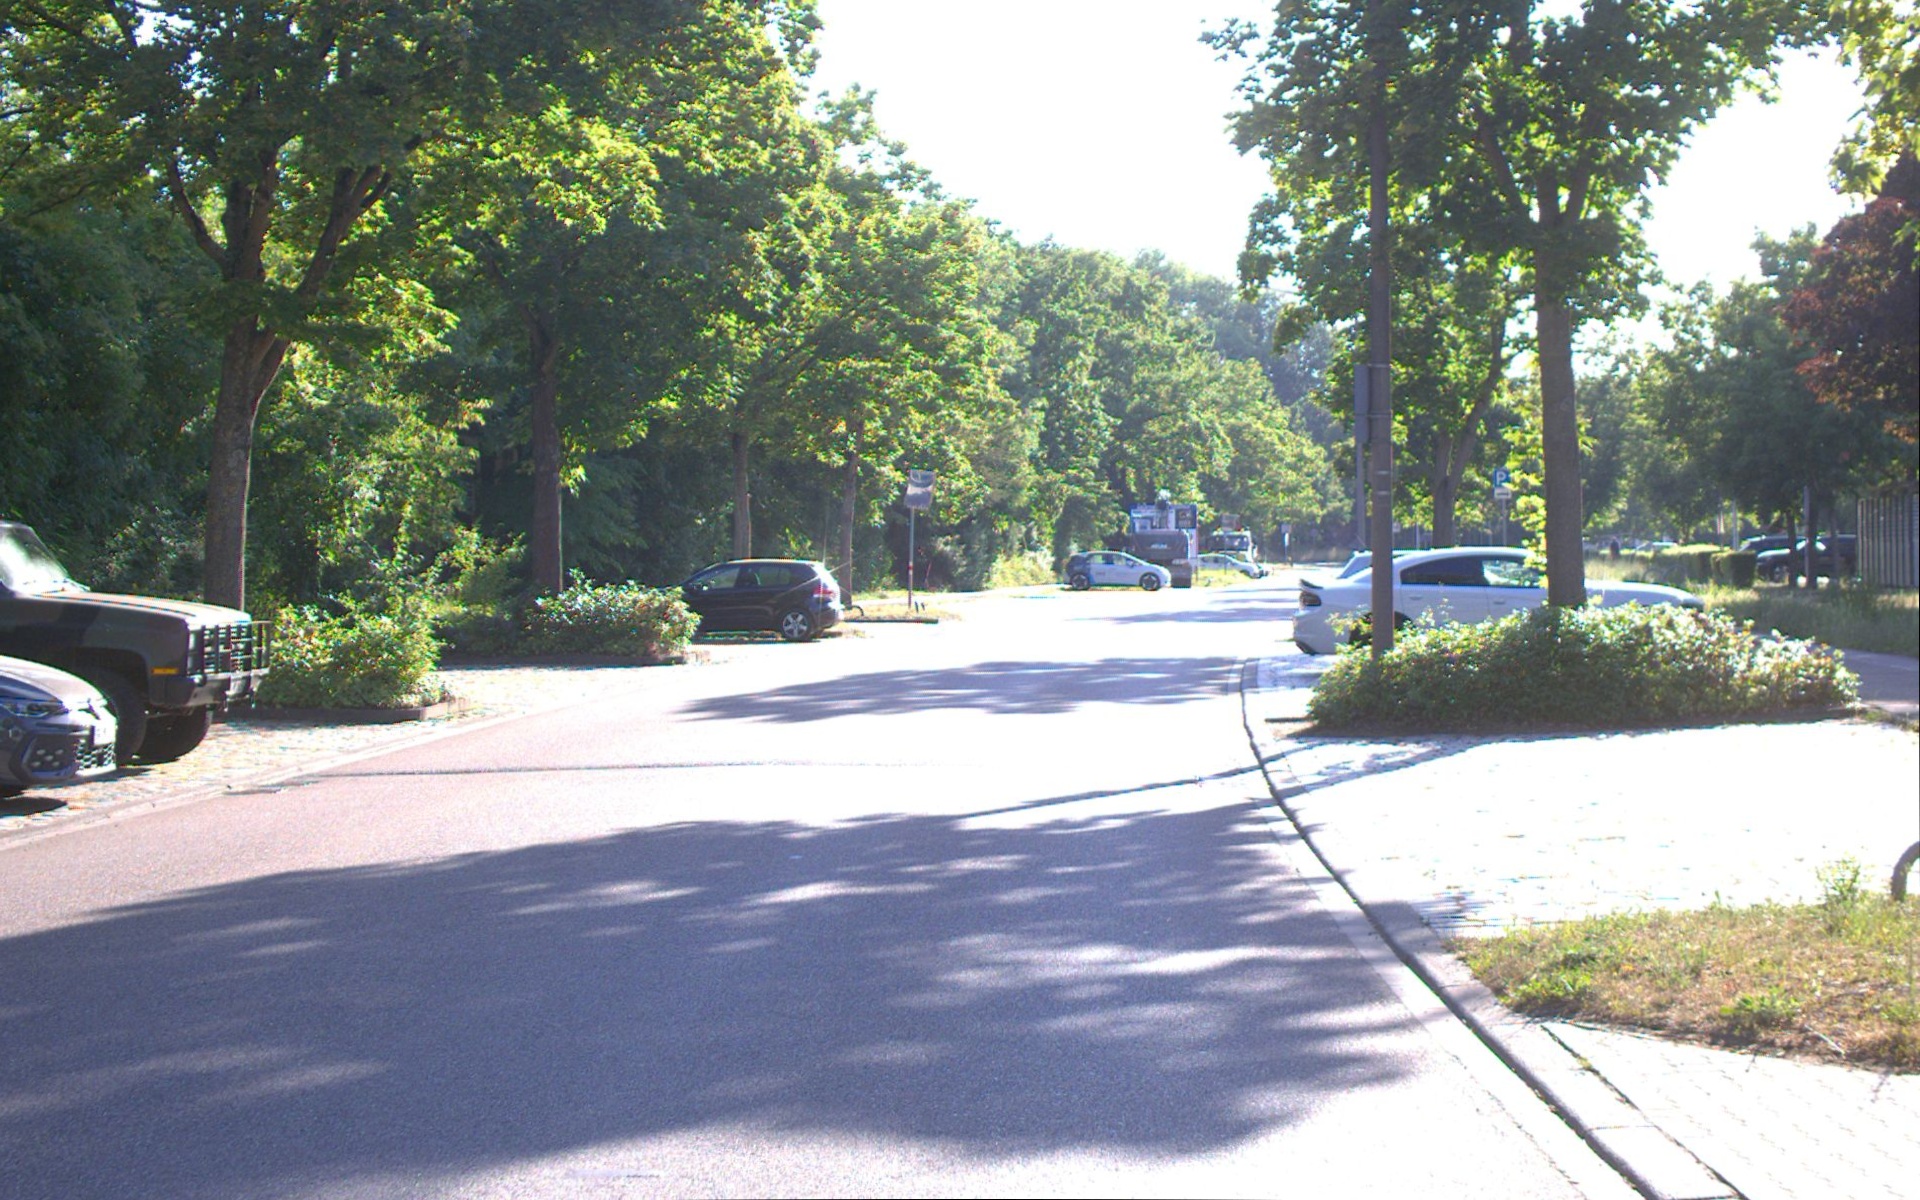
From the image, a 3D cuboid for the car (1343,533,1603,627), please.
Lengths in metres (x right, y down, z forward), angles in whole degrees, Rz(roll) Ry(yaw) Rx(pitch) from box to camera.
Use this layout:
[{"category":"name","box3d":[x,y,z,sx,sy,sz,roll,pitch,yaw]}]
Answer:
[{"category":"car","box3d":[9.246,-0.362,61.912,4.361,1.474,1.999,-3,0,16]}]

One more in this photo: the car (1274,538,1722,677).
[{"category":"car","box3d":[6.480,0.072,41.917,5.176,1.568,2.158,-1,1,3]}]

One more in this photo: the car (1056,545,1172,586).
[{"category":"car","box3d":[6.116,-1.361,136.227,4.360,1.542,1.999,-1,1,10]}]

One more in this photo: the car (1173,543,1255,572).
[{"category":"car","box3d":[13.918,-2.331,188.539,4.359,1.474,2.000,-1,1,2]}]

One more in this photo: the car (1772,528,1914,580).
[{"category":"car","box3d":[29.957,-1.569,116.760,4.430,1.700,2.059,-1,1,8]}]

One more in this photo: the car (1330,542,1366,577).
[{"category":"car","box3d":[22.090,-2.316,195.865,1.994,1.897,3.999,-1,1,7]}]

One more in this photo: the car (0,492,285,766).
[{"category":"car","box3d":[-7.979,0.220,26.659,5.005,2.013,2.174,-1,1,2]}]

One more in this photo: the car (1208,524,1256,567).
[{"category":"car","box3d":[15.624,-3.142,197.723,2.516,2.378,4.373,-1,1,2]}]

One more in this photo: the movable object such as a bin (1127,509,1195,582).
[{"category":"movable object such as a bin","box3d":[8.708,-2.343,148.658,2.838,3.058,4.926,-1,1,4]}]

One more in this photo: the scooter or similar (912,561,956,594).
[{"category":"scooter or similar","box3d":[-0.917,-0.804,122.356,1.580,1.141,0.577,-1,1,-41]}]

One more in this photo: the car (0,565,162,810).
[{"category":"car","box3d":[-7.570,0.568,22.587,4.212,1.525,1.705,-1,1,2]}]

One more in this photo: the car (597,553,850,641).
[{"category":"car","box3d":[-4.341,-0.074,63.449,4.359,1.474,2.000,1,1,6]}]
